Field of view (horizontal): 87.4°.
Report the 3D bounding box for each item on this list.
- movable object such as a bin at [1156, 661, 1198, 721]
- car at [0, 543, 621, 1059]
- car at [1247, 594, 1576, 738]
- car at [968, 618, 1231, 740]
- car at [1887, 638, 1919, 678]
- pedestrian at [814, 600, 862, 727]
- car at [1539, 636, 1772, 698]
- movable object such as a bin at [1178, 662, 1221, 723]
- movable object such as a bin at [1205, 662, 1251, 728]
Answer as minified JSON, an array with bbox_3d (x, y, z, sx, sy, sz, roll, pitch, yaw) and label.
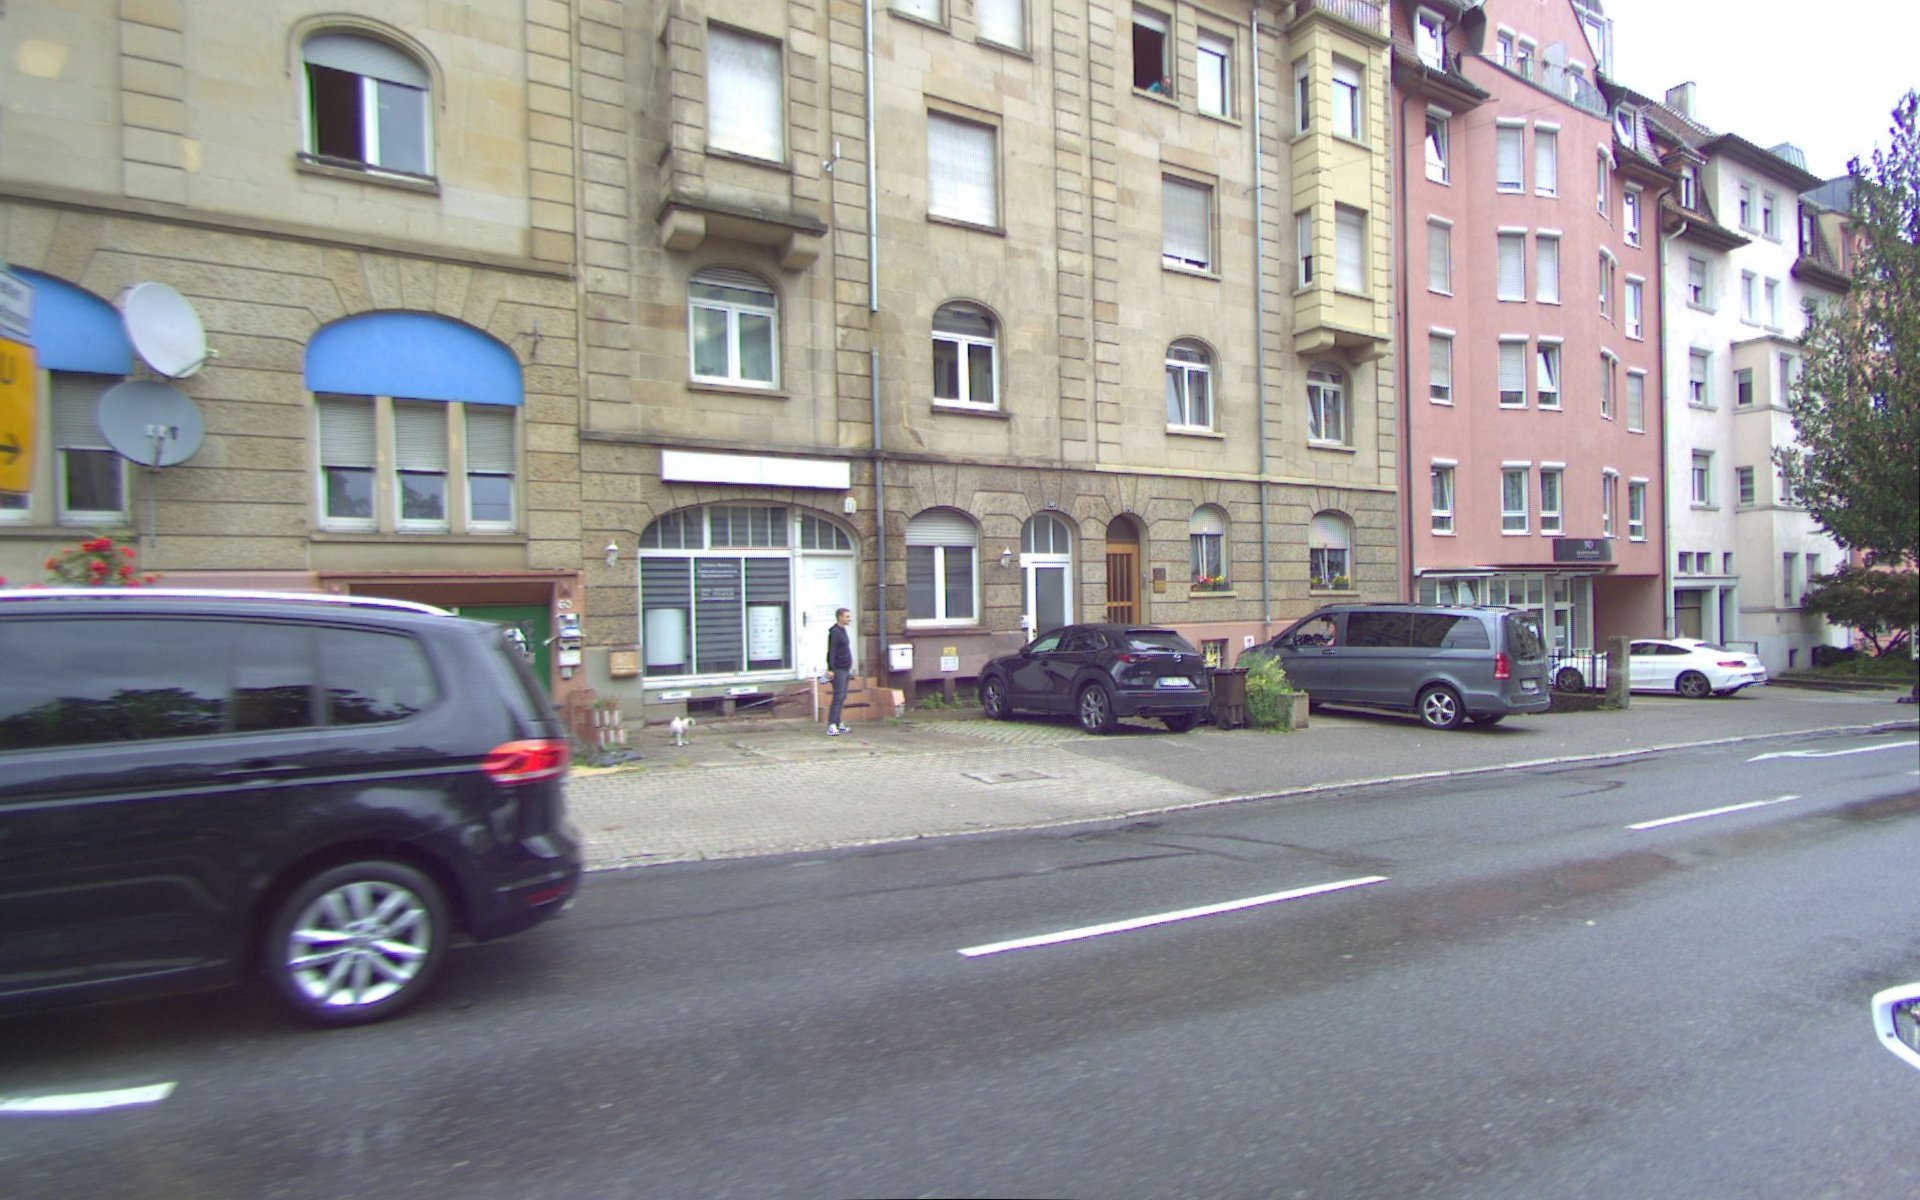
[{"bbox_3d":[3.522,1.471,16.313,0.435,0.916,0.503,1,1,-25],"label":"movable object such as a bin"},{"bbox_3d":[-3.692,0.697,3.902,4.360,1.670,1.616,1,-4,-25],"label":"car"},{"bbox_3d":[7.317,0.937,16.704,1.848,1.965,4.635,0,1,-40],"label":"car"},{"bbox_3d":[1.973,1.078,15.417,1.851,1.531,4.127,1,0,-30],"label":"car"},{"bbox_3d":[36.826,2.124,36.902,1.776,1.476,3.852,2,-3,-38],"label":"car"},{"bbox_3d":[-1.778,0.906,14.598,0.557,1.801,0.476,1,1,-23],"label":"pedestrian"},{"bbox_3d":[17.383,1.622,25.353,1.747,1.419,4.526,1,-2,-31],"label":"car"},{"bbox_3d":[3.764,1.445,15.804,0.435,0.916,0.503,1,1,-25],"label":"movable object such as a bin"},{"bbox_3d":[4.103,1.443,15.380,0.435,0.963,0.503,1,1,-25],"label":"movable object such as a bin"}]
